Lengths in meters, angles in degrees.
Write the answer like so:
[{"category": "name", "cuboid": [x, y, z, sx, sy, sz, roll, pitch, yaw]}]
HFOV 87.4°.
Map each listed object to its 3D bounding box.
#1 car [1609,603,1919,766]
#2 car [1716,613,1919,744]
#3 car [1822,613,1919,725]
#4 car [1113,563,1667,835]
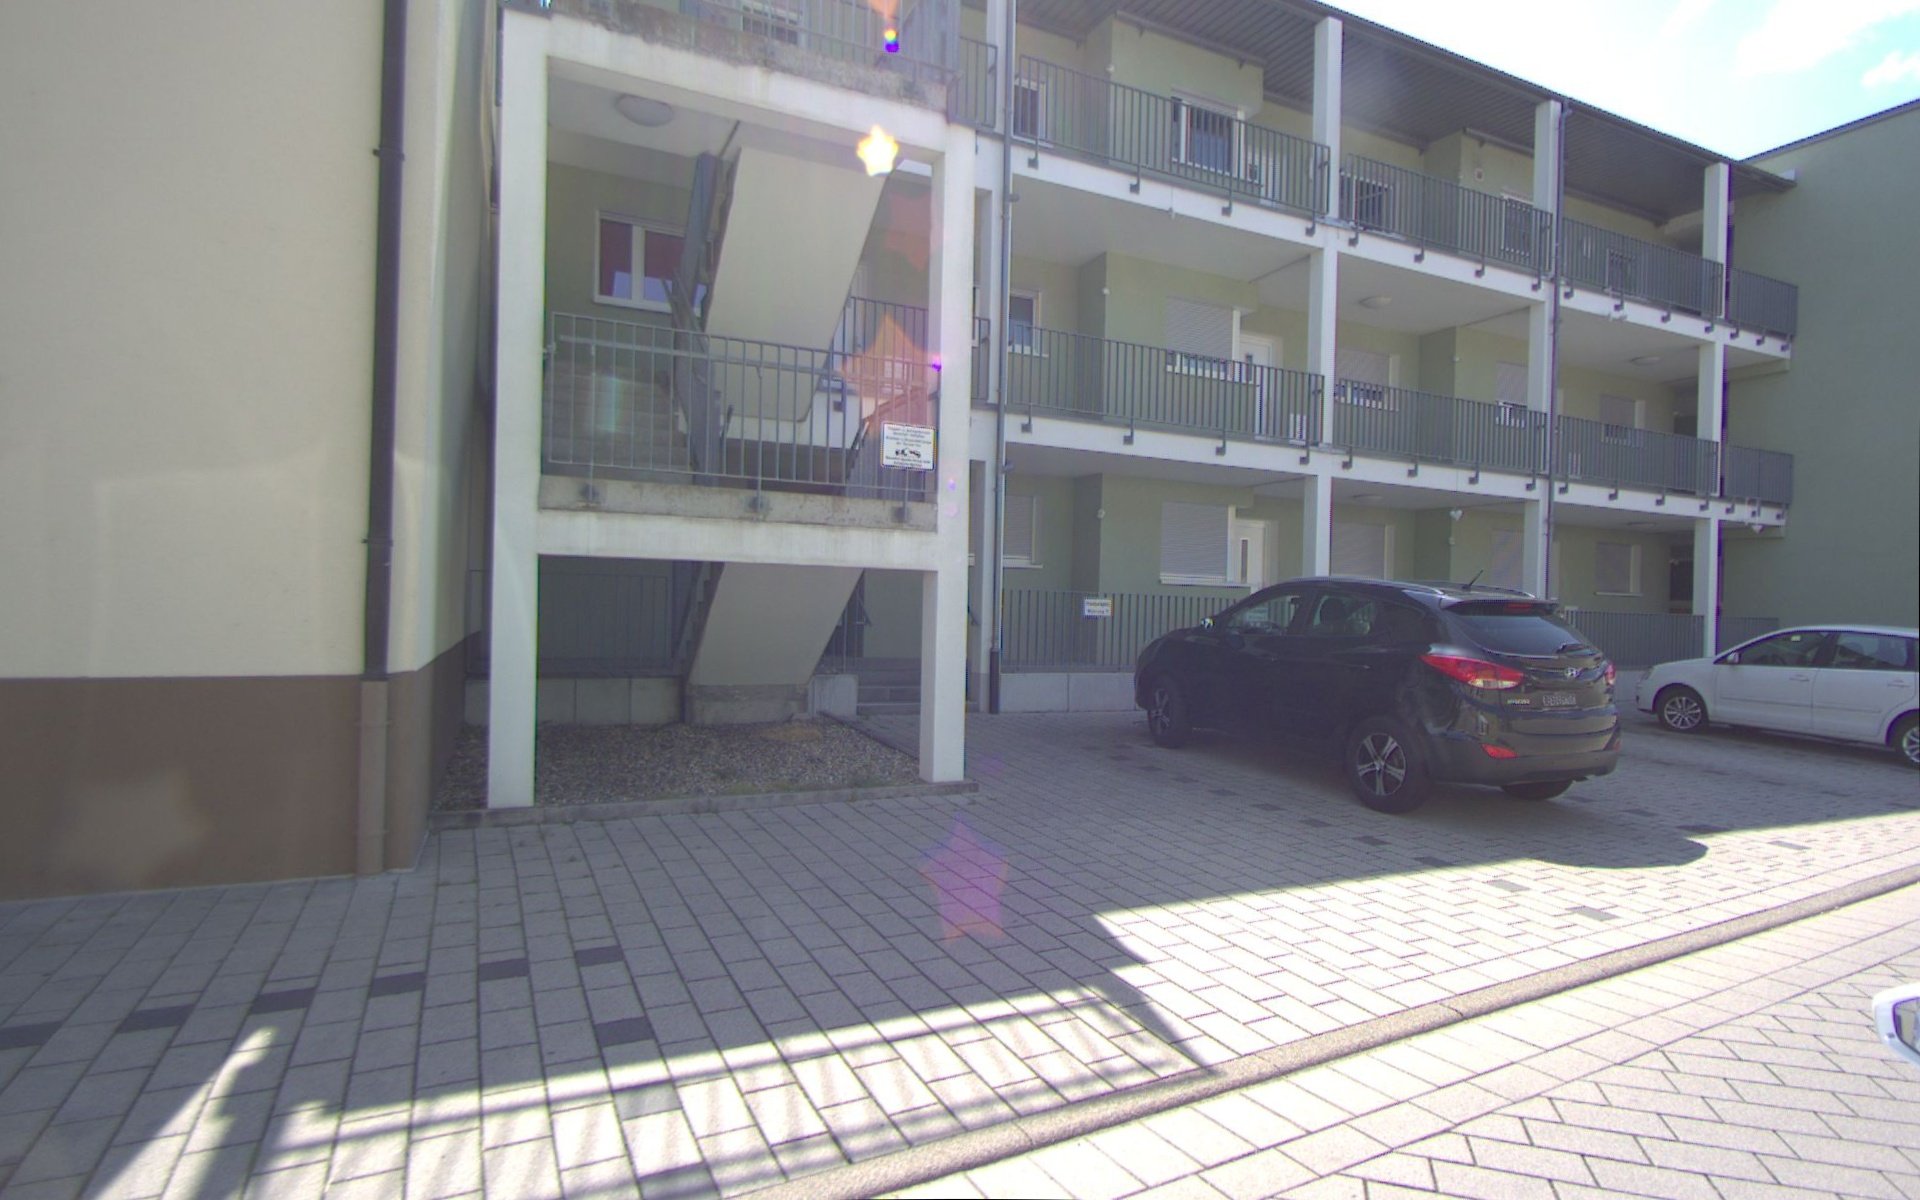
[{"category": "car", "cuboid": [10.267, 0.916, 11.973, 1.726, 1.523, 3.890, 1, 2, -24]}, {"category": "car", "cuboid": [12.462, 1.048, 12.952, 1.668, 1.461, 3.974, 2, 2, -25]}, {"category": "car", "cuboid": [14.748, 1.068, 14.055, 1.649, 1.546, 3.681, 1, 2, -24]}, {"category": "car", "cuboid": [3.263, 0.577, 8.606, 1.761, 1.680, 4.204, 2, 2, -26]}]
